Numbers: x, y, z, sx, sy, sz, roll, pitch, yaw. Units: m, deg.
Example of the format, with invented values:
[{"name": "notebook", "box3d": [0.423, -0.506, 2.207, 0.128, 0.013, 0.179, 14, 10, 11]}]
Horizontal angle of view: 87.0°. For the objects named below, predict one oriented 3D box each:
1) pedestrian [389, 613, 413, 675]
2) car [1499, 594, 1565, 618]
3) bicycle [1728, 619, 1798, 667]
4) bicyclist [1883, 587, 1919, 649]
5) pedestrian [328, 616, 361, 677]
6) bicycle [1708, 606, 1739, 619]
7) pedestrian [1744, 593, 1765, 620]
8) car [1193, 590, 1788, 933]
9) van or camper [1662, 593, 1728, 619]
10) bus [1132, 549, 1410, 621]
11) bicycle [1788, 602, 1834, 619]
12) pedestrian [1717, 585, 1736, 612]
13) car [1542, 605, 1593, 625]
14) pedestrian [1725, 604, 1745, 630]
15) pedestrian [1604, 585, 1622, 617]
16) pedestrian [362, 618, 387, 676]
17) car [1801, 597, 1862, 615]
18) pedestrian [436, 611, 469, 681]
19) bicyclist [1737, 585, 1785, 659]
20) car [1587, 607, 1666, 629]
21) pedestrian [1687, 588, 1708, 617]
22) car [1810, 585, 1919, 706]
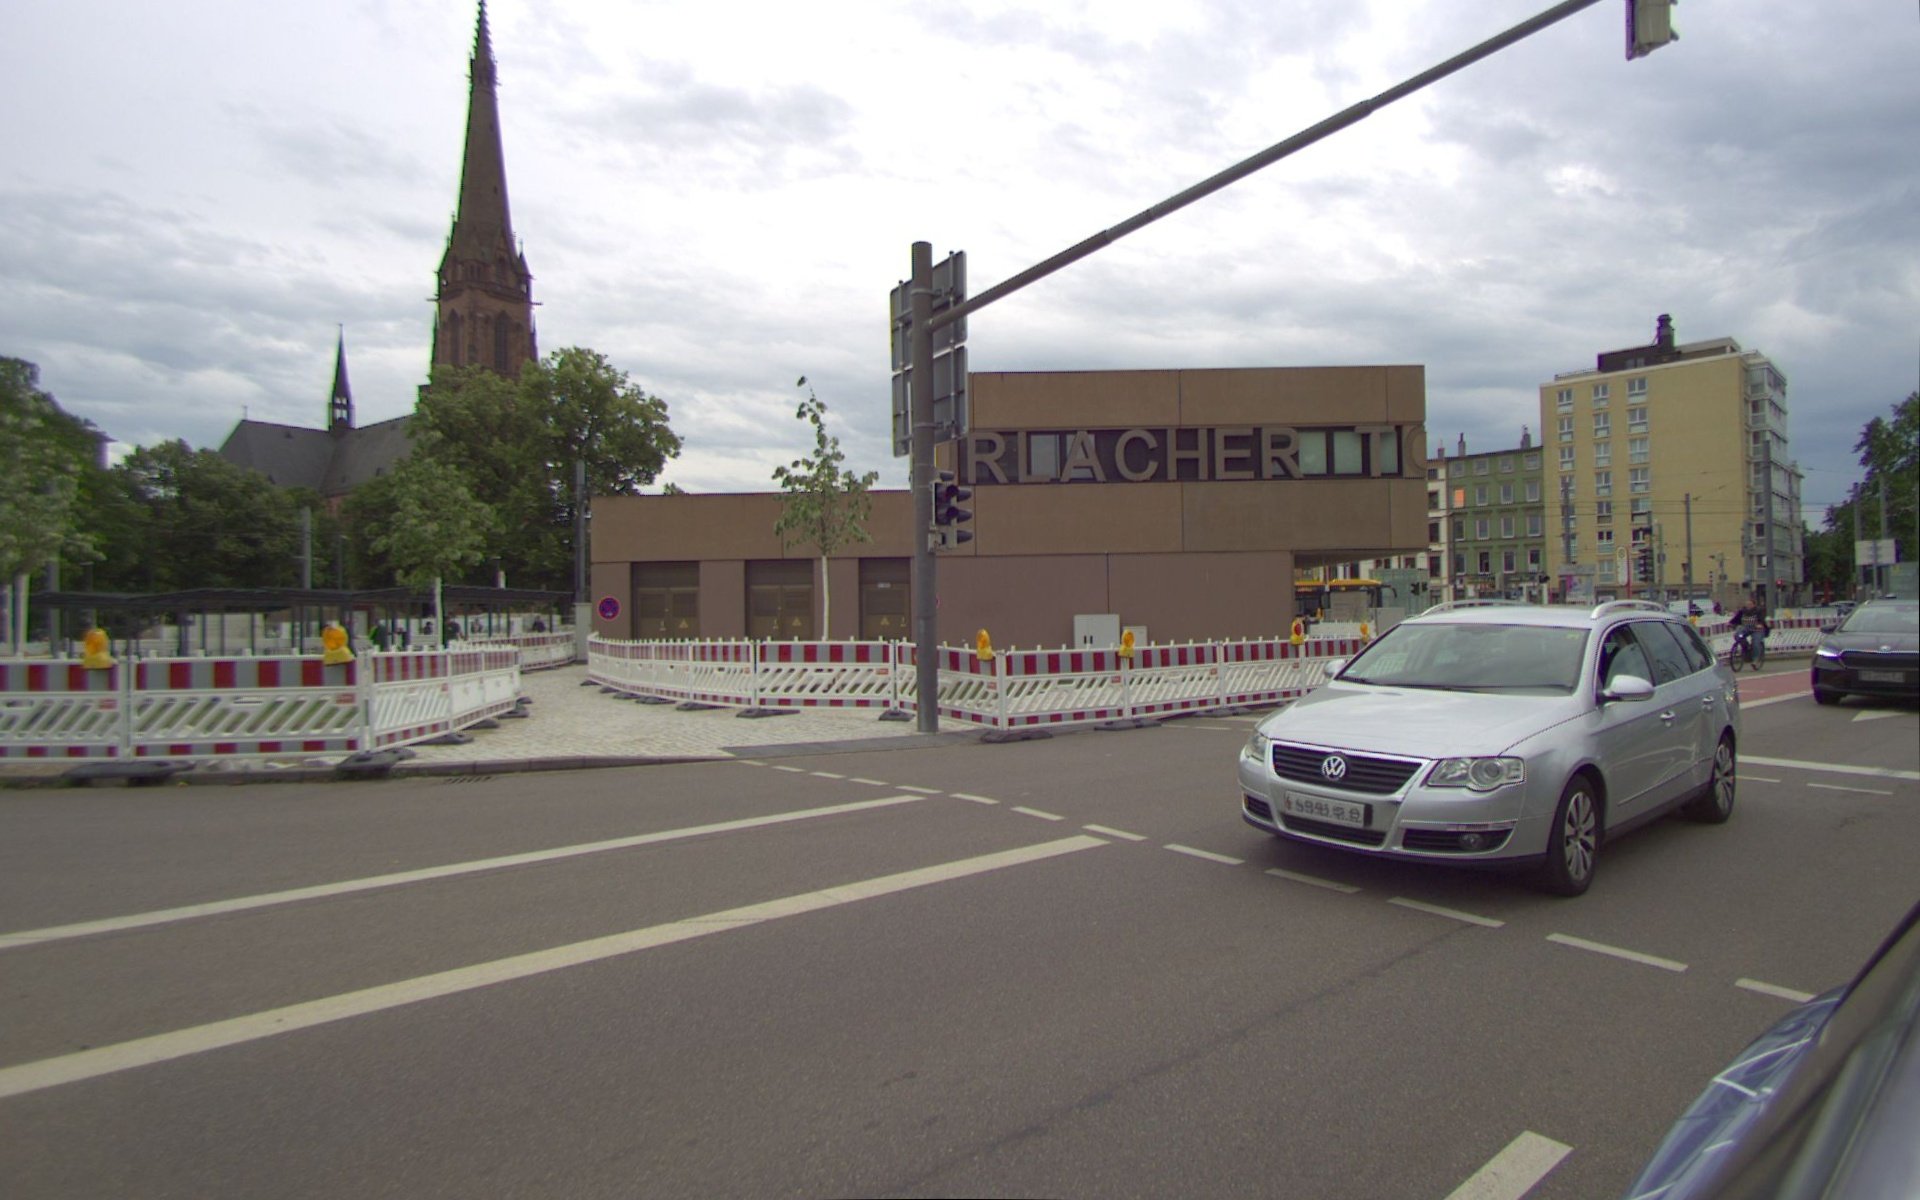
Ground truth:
[{"name": "pedestrian", "box3d": [-16.962, 1.328, 30.717, 0.584, 1.828, 0.642, 0, -1, -25]}, {"name": "car", "box3d": [44.358, 0.508, 78.496, 1.965, 1.772, 3.994, 0, -1, -40]}, {"name": "bicycle", "box3d": [19.047, 1.000, 23.998, 2.084, 1.068, 0.627, -1, -1, -32]}, {"name": "bicyclist", "box3d": [25.673, 0.477, 27.233, 0.913, 1.639, 0.792, 0, -3, -15]}, {"name": "pedestrian", "box3d": [-18.380, 1.370, 30.215, 0.749, 1.784, 0.699, 0, -1, -24]}, {"name": "bicycle", "box3d": [65.794, 1.079, 87.200, 2.034, 1.184, 0.659, -1, -1, 45]}, {"name": "pedestrian", "box3d": [49.198, 0.403, 62.669, 0.776, 1.623, 0.889, -1, -1, 24]}, {"name": "car", "box3d": [3.637, 0.701, 6.532, 4.544, 1.501, 1.724, 0, 0, -39]}, {"name": "van or camper", "box3d": [59.660, 0.523, 82.258, 2.137, 2.004, 5.449, -1, -1, 10]}, {"name": "bus", "box3d": [15.310, -0.700, 50.624, 12.801, 3.310, 3.024, -1, -1, 2]}, {"name": "bicycle", "box3d": [70.040, 0.893, 83.269, 0.888, 1.395, 2.779, 0, -1, -40]}, {"name": "pedestrian", "box3d": [50.726, -0.077, 66.977, 0.780, 1.779, 1.040, -1, -1, 26]}, {"name": "car", "box3d": [52.602, 1.289, 87.719, 1.853, 1.602, 3.742, -1, -1, -7]}, {"name": "pedestrian", "box3d": [48.836, 1.063, 63.753, 0.760, 1.632, 0.943, -1, -1, 24]}, {"name": "pedestrian", "box3d": [40.121, 0.046, 62.182, 0.776, 1.936, 0.896, -1, -1, 24]}, {"name": "pedestrian", "box3d": [-17.602, 1.393, 30.442, 0.588, 1.710, 0.604, 0, -1, -25]}, {"name": "car", "box3d": [77.345, 0.567, 89.897, 3.981, 1.483, 1.971, -2, -1, 41]}, {"name": "pedestrian", "box3d": [-13.619, 1.234, 27.164, 0.634, 1.855, 0.457, -1, -1, 1]}, {"name": "bicyclist", "box3d": [18.964, 0.521, 23.968, 0.790, 1.712, 0.618, 1, -2, -31]}, {"name": "car", "box3d": [48.288, 1.311, 73.387, 1.965, 1.505, 4.438, 0, -1, -40]}, {"name": "pedestrian", "box3d": [43.967, 0.150, 60.341, 0.776, 1.664, 0.896, -1, -1, 24]}, {"name": "car", "box3d": [14.972, 0.633, 15.621, 4.432, 1.679, 1.908, 0, -1, -38]}]
